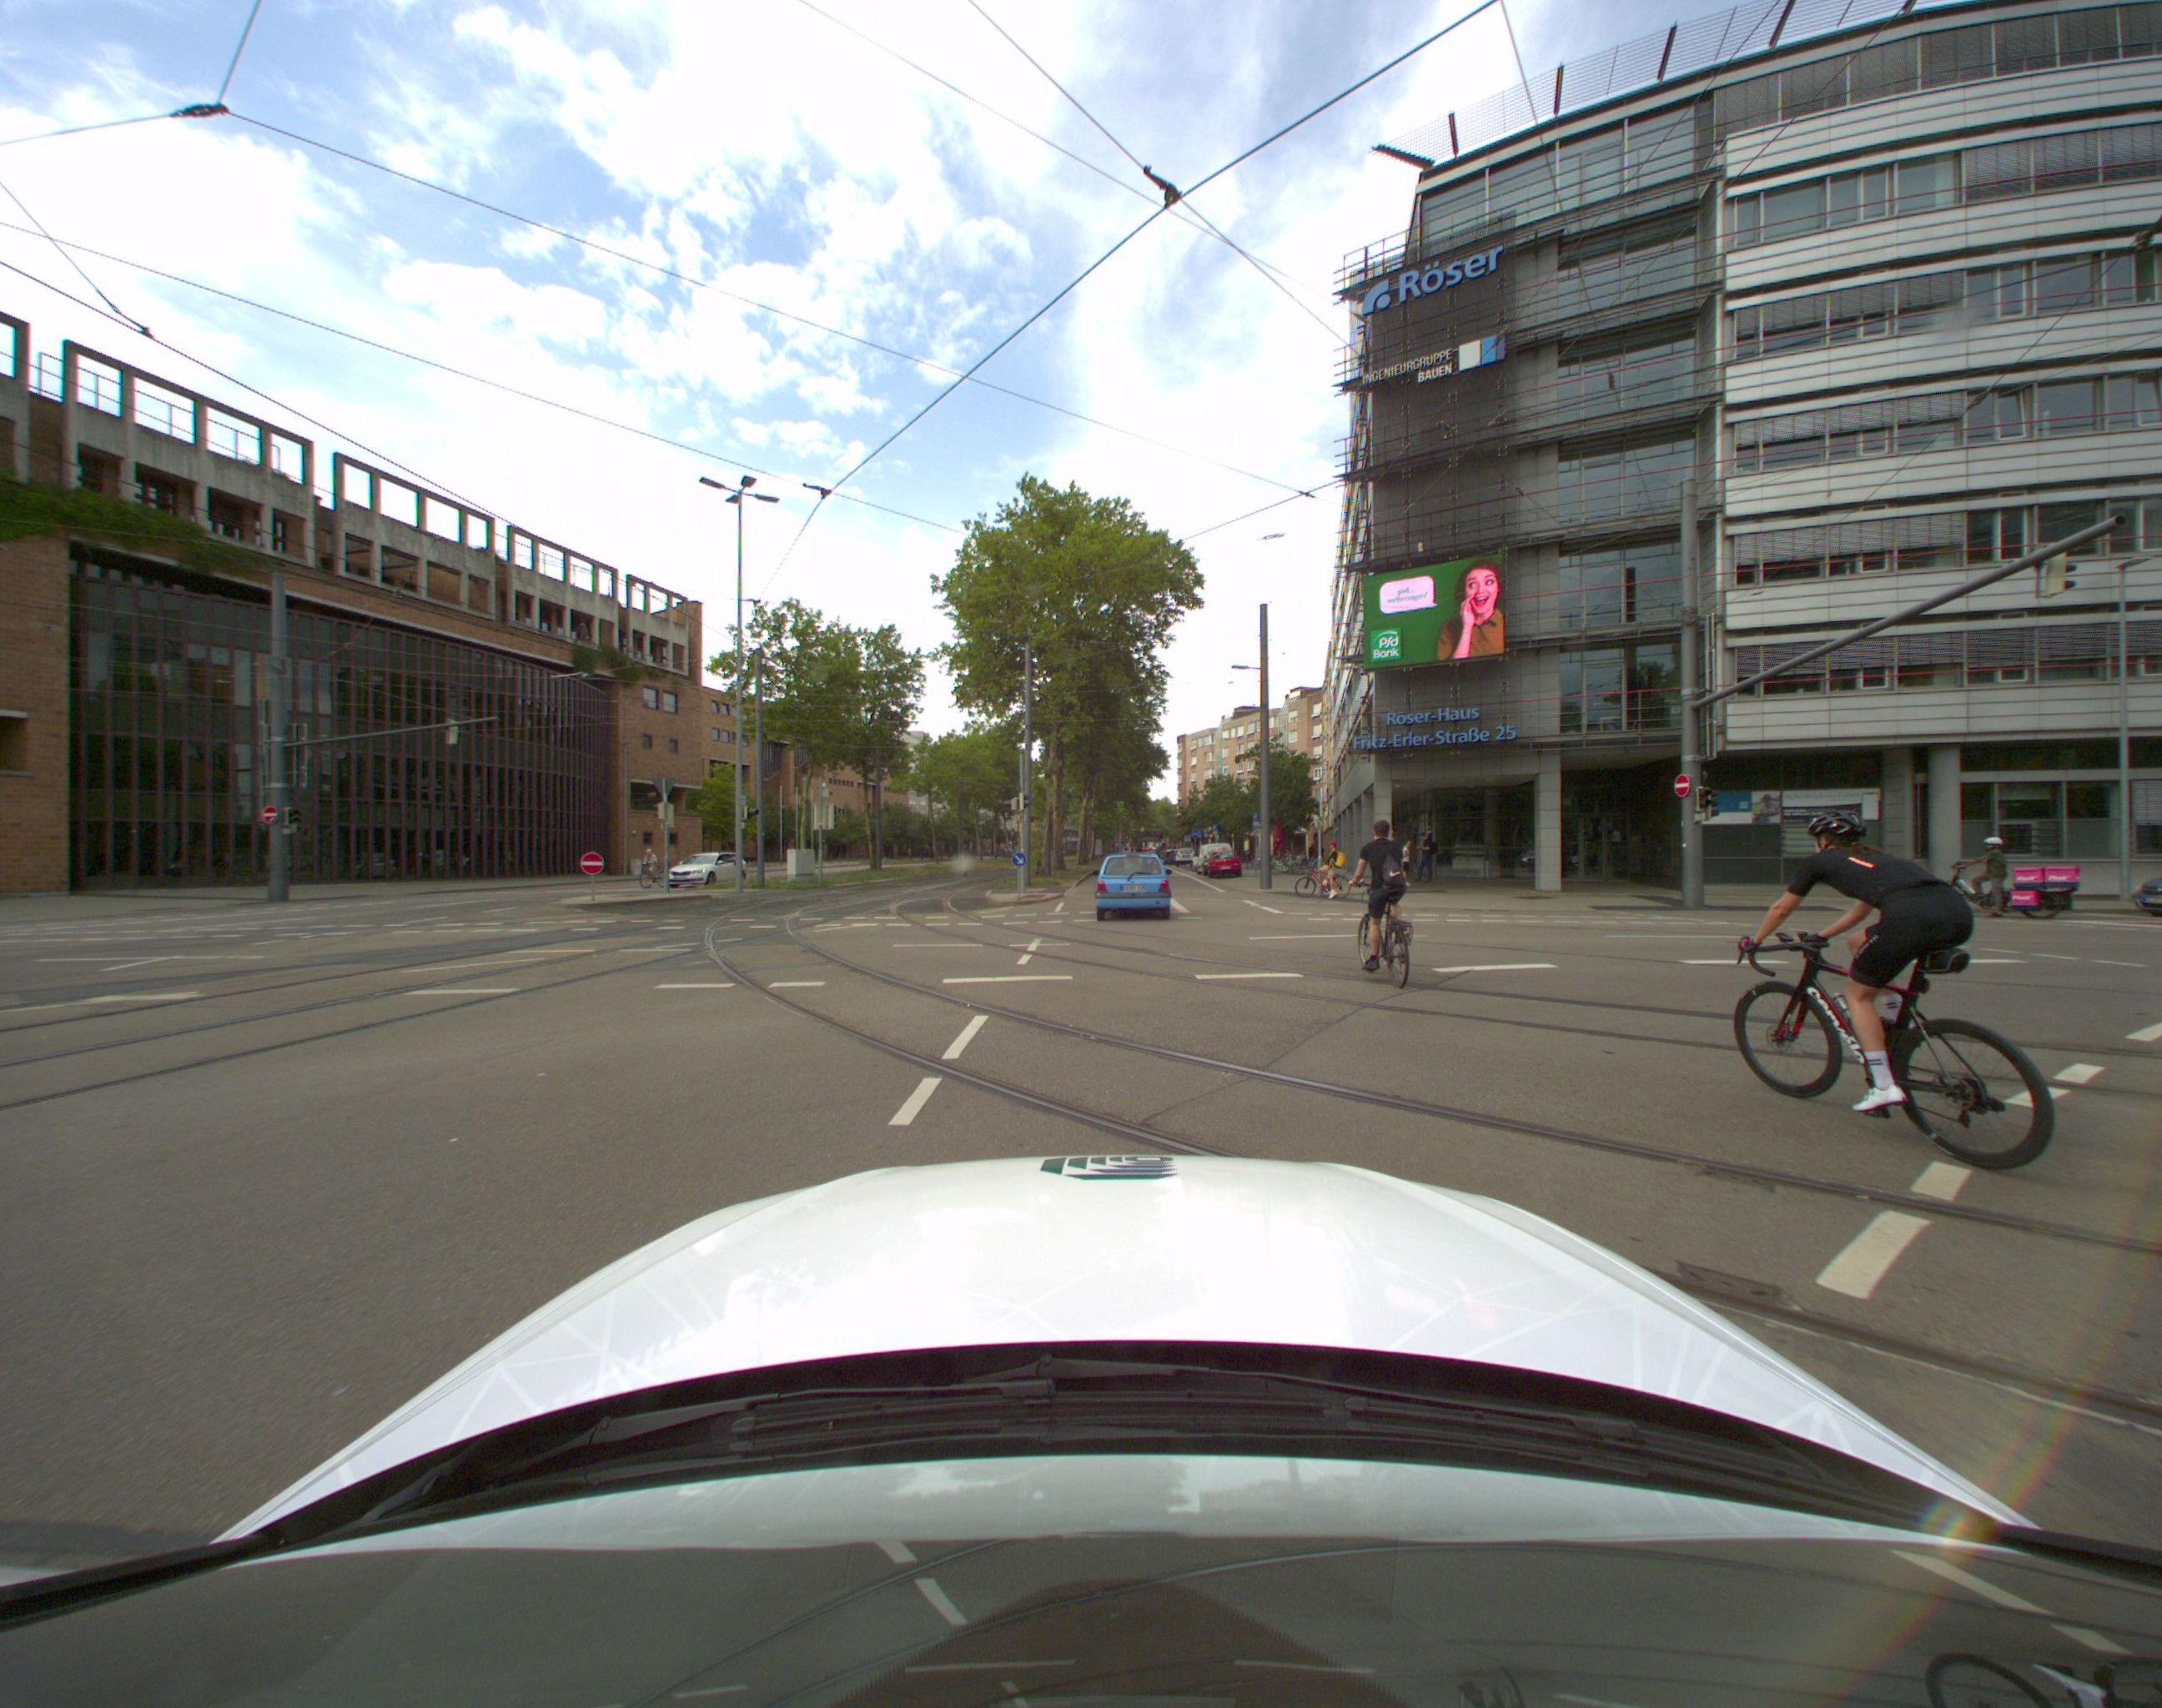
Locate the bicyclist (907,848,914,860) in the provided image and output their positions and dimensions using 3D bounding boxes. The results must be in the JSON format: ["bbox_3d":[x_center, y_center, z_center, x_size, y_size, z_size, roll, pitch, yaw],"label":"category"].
[{"bbox_3d":[-23.867,-0.022,114.063,0.660,1.590,0.986,0,1,6],"label":"bicyclist"}]

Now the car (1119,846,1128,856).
[{"bbox_3d":[8.765,-0.612,167.722,1.923,1.925,4.961,0,1,4],"label":"car"}]

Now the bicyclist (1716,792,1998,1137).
[{"bbox_3d":[4.135,0.528,4.434,0.587,1.654,1.036,-1,1,4],"label":"bicyclist"}]

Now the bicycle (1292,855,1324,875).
[{"bbox_3d":[11.800,0.575,42.393,1.553,0.987,0.423,-1,1,-1],"label":"bicycle"}]

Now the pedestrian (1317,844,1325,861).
[{"bbox_3d":[22.253,-0.126,75.488,0.704,1.555,0.802,-1,1,16],"label":"pedestrian"}]

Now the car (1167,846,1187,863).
[{"bbox_3d":[9.596,0.013,81.604,1.708,1.519,4.207,-2,1,3],"label":"car"}]

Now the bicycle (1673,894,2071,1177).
[{"bbox_3d":[4.141,0.852,4.485,0.591,1.138,1.736,-1,1,4],"label":"bicycle"}]

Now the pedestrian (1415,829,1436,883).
[{"bbox_3d":[13.257,0.075,31.386,0.598,2.013,0.677,-1,3,10],"label":"pedestrian"}]

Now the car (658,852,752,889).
[{"bbox_3d":[-16.347,0.670,35.679,1.777,1.421,4.661,0,1,2],"label":"car"}]

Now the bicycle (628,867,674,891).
[{"bbox_3d":[-18.367,1.035,34.839,0.727,0.917,2.125,0,1,2],"label":"bicycle"}]

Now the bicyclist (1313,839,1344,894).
[{"bbox_3d":[8.156,0.402,26.871,0.905,1.764,0.723,-1,1,21],"label":"bicyclist"}]

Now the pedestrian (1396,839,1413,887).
[{"bbox_3d":[12.030,0.329,30.316,0.549,1.726,0.498,0,2,25],"label":"pedestrian"}]

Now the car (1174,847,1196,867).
[{"bbox_3d":[9.209,0.228,72.103,1.851,1.653,4.171,-1,1,7],"label":"car"}]

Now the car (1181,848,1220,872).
[{"bbox_3d":[8.362,0.382,57.446,1.989,1.603,4.580,-1,0,-2],"label":"car"}]

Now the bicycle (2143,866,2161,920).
[{"bbox_3d":[22.256,0.758,15.727,2.184,1.056,0.686,-1,0,13],"label":"bicycle"}]

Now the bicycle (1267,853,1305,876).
[{"bbox_3d":[10.786,0.538,42.845,1.845,1.138,0.492,-1,1,-4],"label":"bicycle"}]

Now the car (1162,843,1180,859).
[{"bbox_3d":[9.589,-0.328,86.754,1.732,1.519,4.407,-1,1,5],"label":"car"}]

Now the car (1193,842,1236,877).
[{"bbox_3d":[7.816,0.260,48.065,1.820,1.864,4.649,-2,1,1],"label":"car"}]

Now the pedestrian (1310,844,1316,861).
[{"bbox_3d":[21.567,-0.167,75.626,0.508,1.555,0.475,-1,1,16],"label":"pedestrian"}]

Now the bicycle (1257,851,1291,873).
[{"bbox_3d":[11.168,0.465,47.137,1.896,1.197,0.481,0,1,11],"label":"bicycle"}]

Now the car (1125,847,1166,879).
[{"bbox_3d":[3.584,0.461,44.614,1.764,1.576,4.317,-2,1,10],"label":"car"}]

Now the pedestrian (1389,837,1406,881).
[{"bbox_3d":[12.628,0.197,32.513,0.541,1.726,0.646,0,2,14],"label":"pedestrian"}]

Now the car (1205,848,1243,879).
[{"bbox_3d":[7.557,0.484,43.334,1.713,1.432,4.263,-3,1,8],"label":"car"}]

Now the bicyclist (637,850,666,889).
[{"bbox_3d":[-18.364,0.656,34.856,0.719,1.609,0.902,0,1,2],"label":"bicyclist"}]

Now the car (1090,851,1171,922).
[{"bbox_3d":[1.140,0.662,18.506,1.633,1.386,3.848,1,1,4],"label":"car"}]

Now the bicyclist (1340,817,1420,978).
[{"bbox_3d":[3.469,0.472,9.515,0.587,1.768,1.036,-1,1,4],"label":"bicyclist"}]

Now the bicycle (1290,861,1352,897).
[{"bbox_3d":[7.948,0.808,26.960,1.882,1.138,0.730,-1,1,21],"label":"bicycle"}]

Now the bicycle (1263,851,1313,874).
[{"bbox_3d":[11.466,0.464,45.188,2.621,1.258,0.655,0,1,3],"label":"bicycle"}]

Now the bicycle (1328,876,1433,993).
[{"bbox_3d":[3.487,0.879,9.660,0.591,1.138,2.093,-1,1,4],"label":"bicycle"}]

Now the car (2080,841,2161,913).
[{"bbox_3d":[25.100,0.460,17.752,3.961,1.533,1.829,-1,0,11],"label":"car"}]

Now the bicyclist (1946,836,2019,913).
[{"bbox_3d":[20.283,0.458,18.323,0.664,1.675,1.023,1,-2,-38],"label":"bicyclist"}]

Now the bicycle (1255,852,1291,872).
[{"bbox_3d":[11.231,0.458,47.623,2.042,1.197,0.481,0,0,11],"label":"bicycle"}]

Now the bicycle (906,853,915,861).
[{"bbox_3d":[-23.870,0.365,114.062,0.664,1.084,2.097,0,1,7],"label":"bicycle"}]

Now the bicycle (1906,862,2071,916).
[{"bbox_3d":[20.299,0.769,18.290,0.664,1.139,2.412,1,-2,-38],"label":"bicycle"}]
